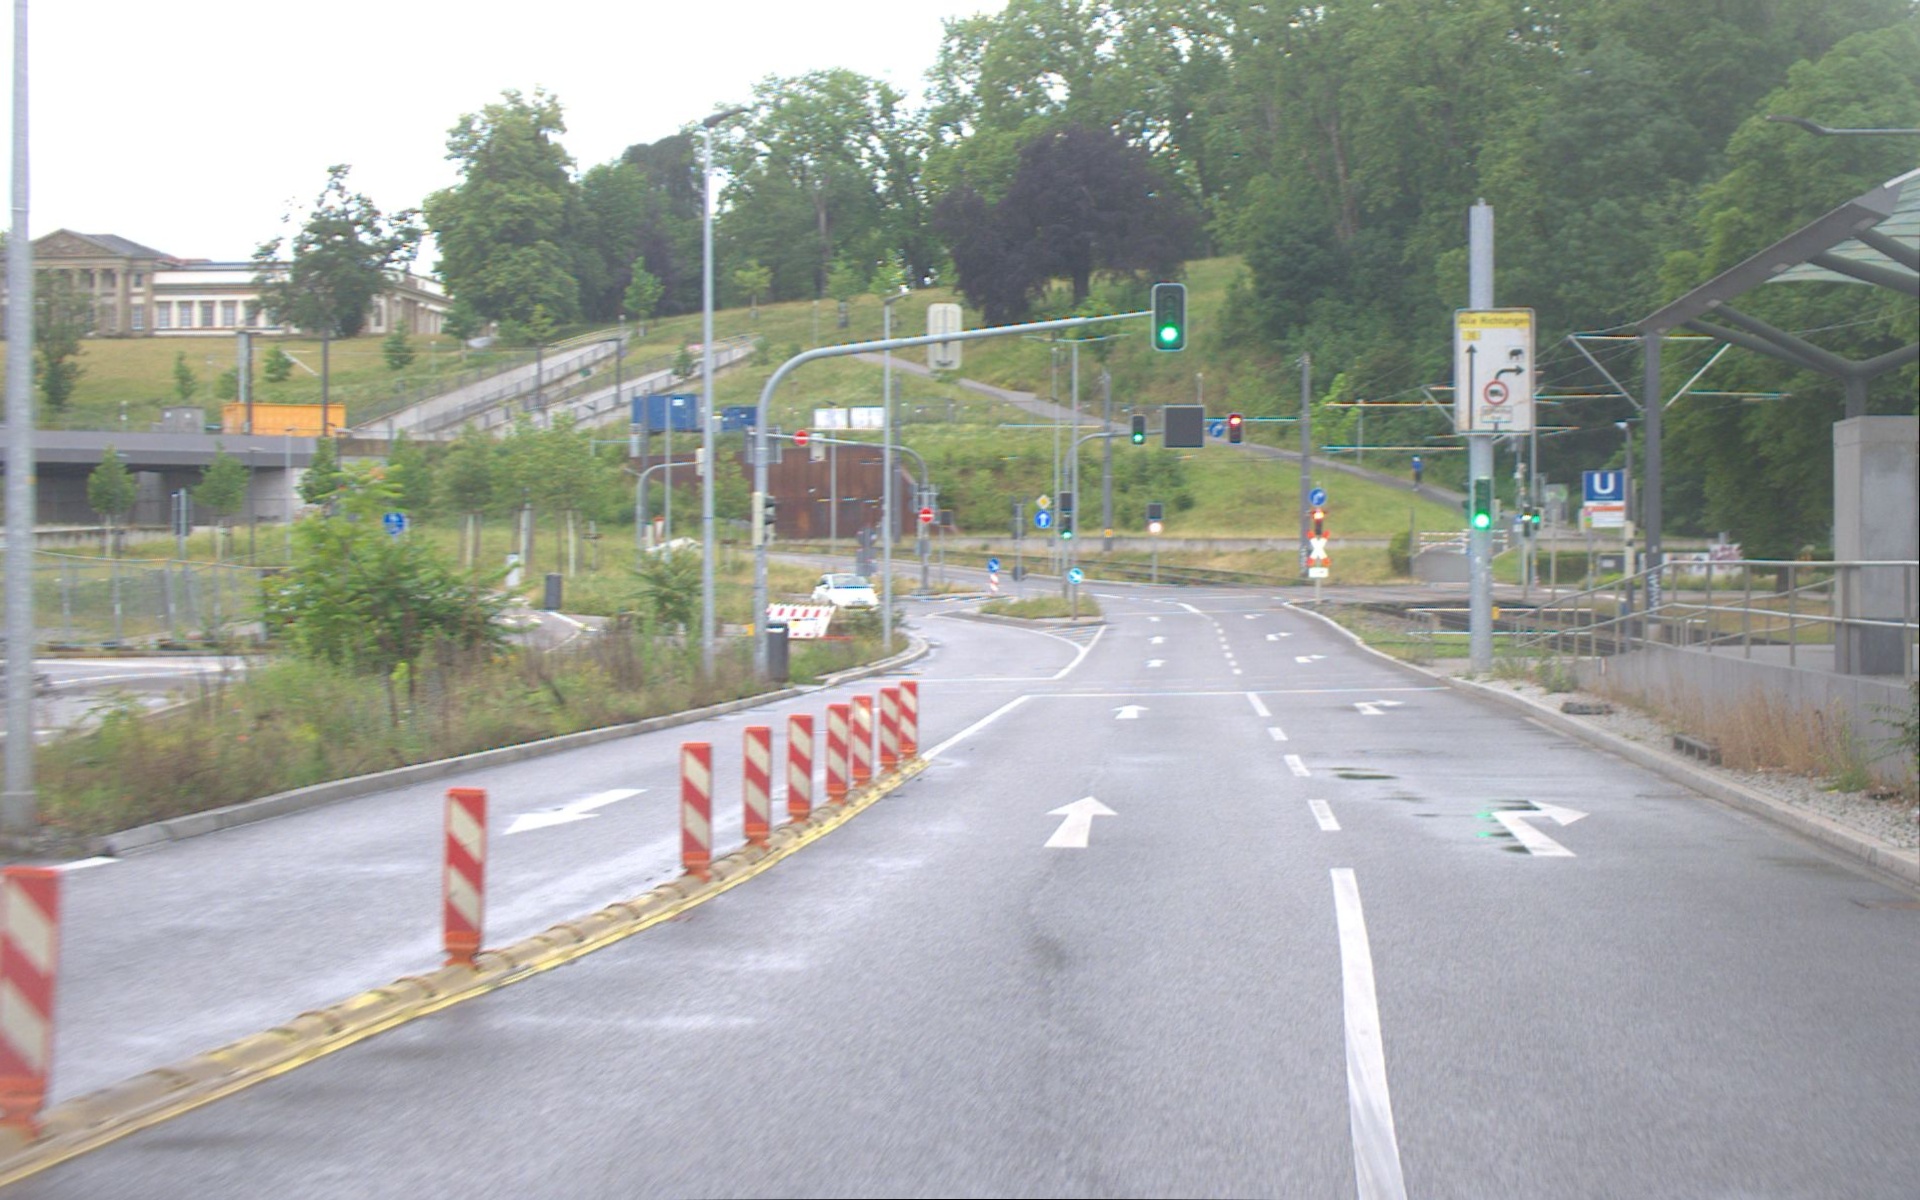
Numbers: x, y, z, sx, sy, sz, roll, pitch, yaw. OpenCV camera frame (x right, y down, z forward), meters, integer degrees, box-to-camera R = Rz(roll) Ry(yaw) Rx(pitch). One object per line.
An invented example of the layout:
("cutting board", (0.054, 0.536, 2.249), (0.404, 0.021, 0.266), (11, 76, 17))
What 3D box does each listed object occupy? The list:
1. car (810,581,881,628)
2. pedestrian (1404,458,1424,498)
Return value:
("car", (-3.948, 0.146, 118.377), (1.586, 1.486, 3.715), (-3, 1, -15))
("pedestrian", (24.589, -6.616, 186.378), (0.788, 2.006, 0.657), (-6, 8, -11))
